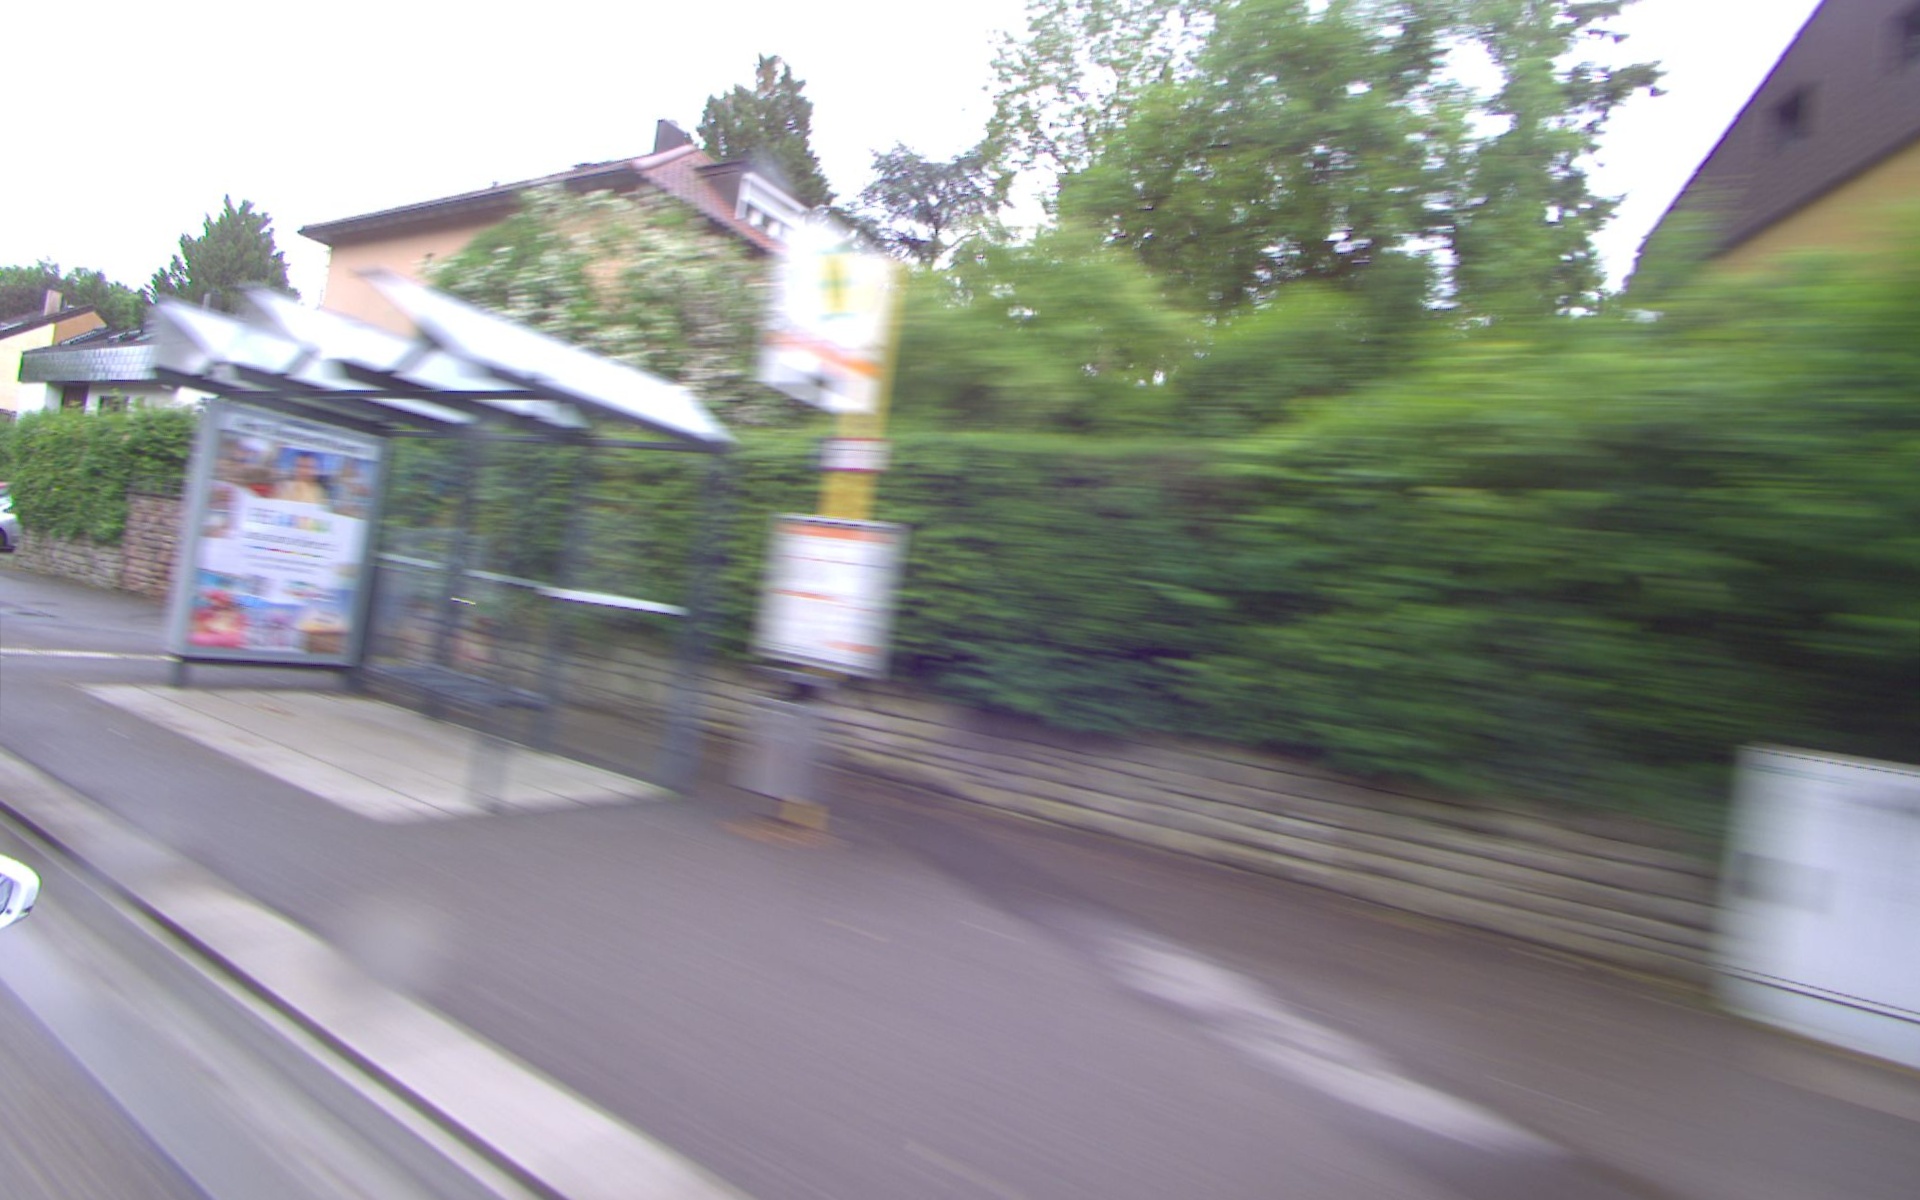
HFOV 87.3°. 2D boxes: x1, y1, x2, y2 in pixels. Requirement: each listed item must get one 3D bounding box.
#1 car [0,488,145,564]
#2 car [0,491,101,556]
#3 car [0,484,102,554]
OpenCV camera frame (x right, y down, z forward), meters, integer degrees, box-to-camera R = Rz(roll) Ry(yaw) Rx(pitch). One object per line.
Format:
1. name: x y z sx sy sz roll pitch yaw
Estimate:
1. car: -22.694 -1.865 24.763 1.797 1.556 3.659 7 2 31
2. car: -26.748 -2.274 27.713 1.852 1.477 4.250 6 -2 33
3. car: -25.180 -2.241 26.382 1.852 1.586 3.660 7 0 33
